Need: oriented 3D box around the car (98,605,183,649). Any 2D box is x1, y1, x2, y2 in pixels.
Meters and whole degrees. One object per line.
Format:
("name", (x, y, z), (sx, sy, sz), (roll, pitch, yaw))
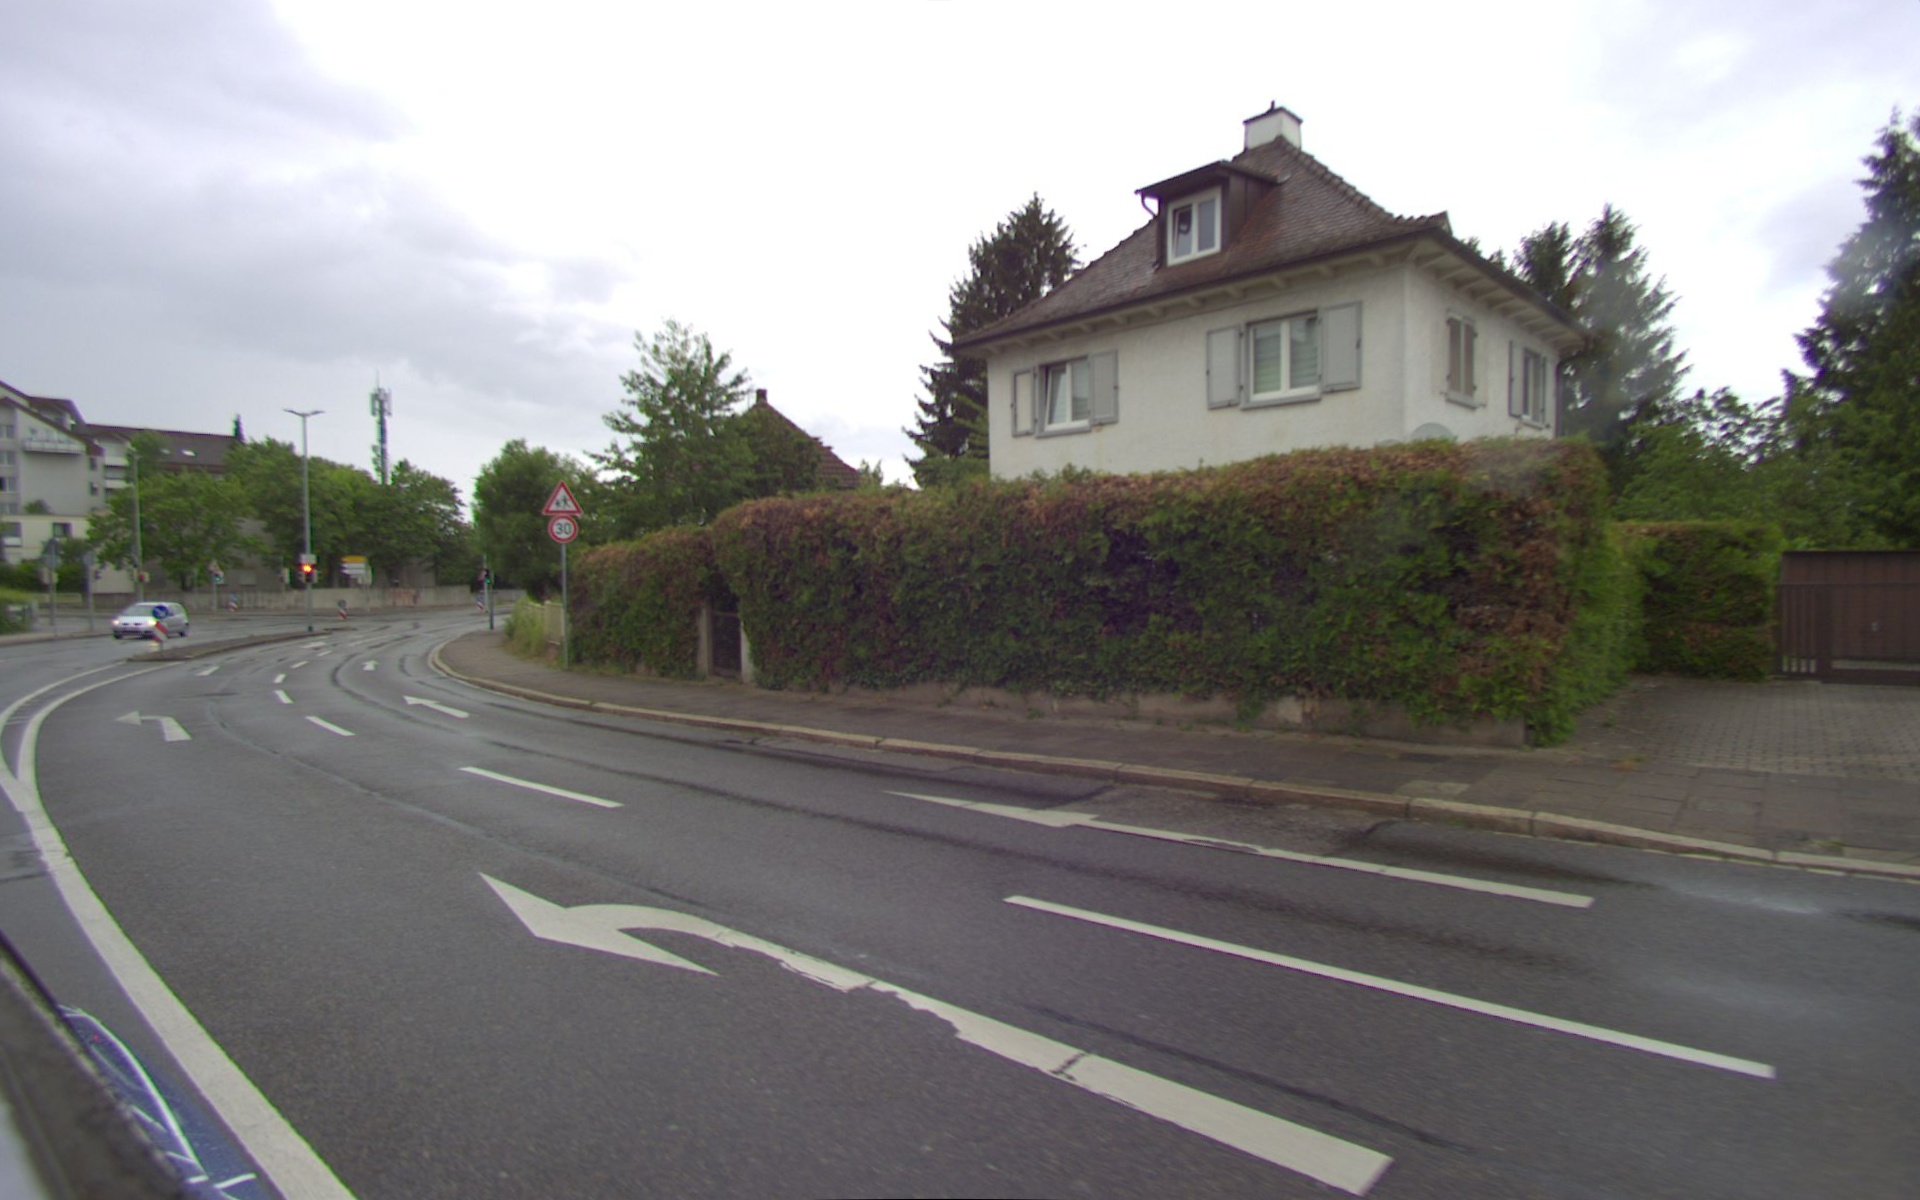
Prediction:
("car", (-35.566, 1.140, 44.040), (1.965, 1.669, 4.014), (-1, 2, -25))
